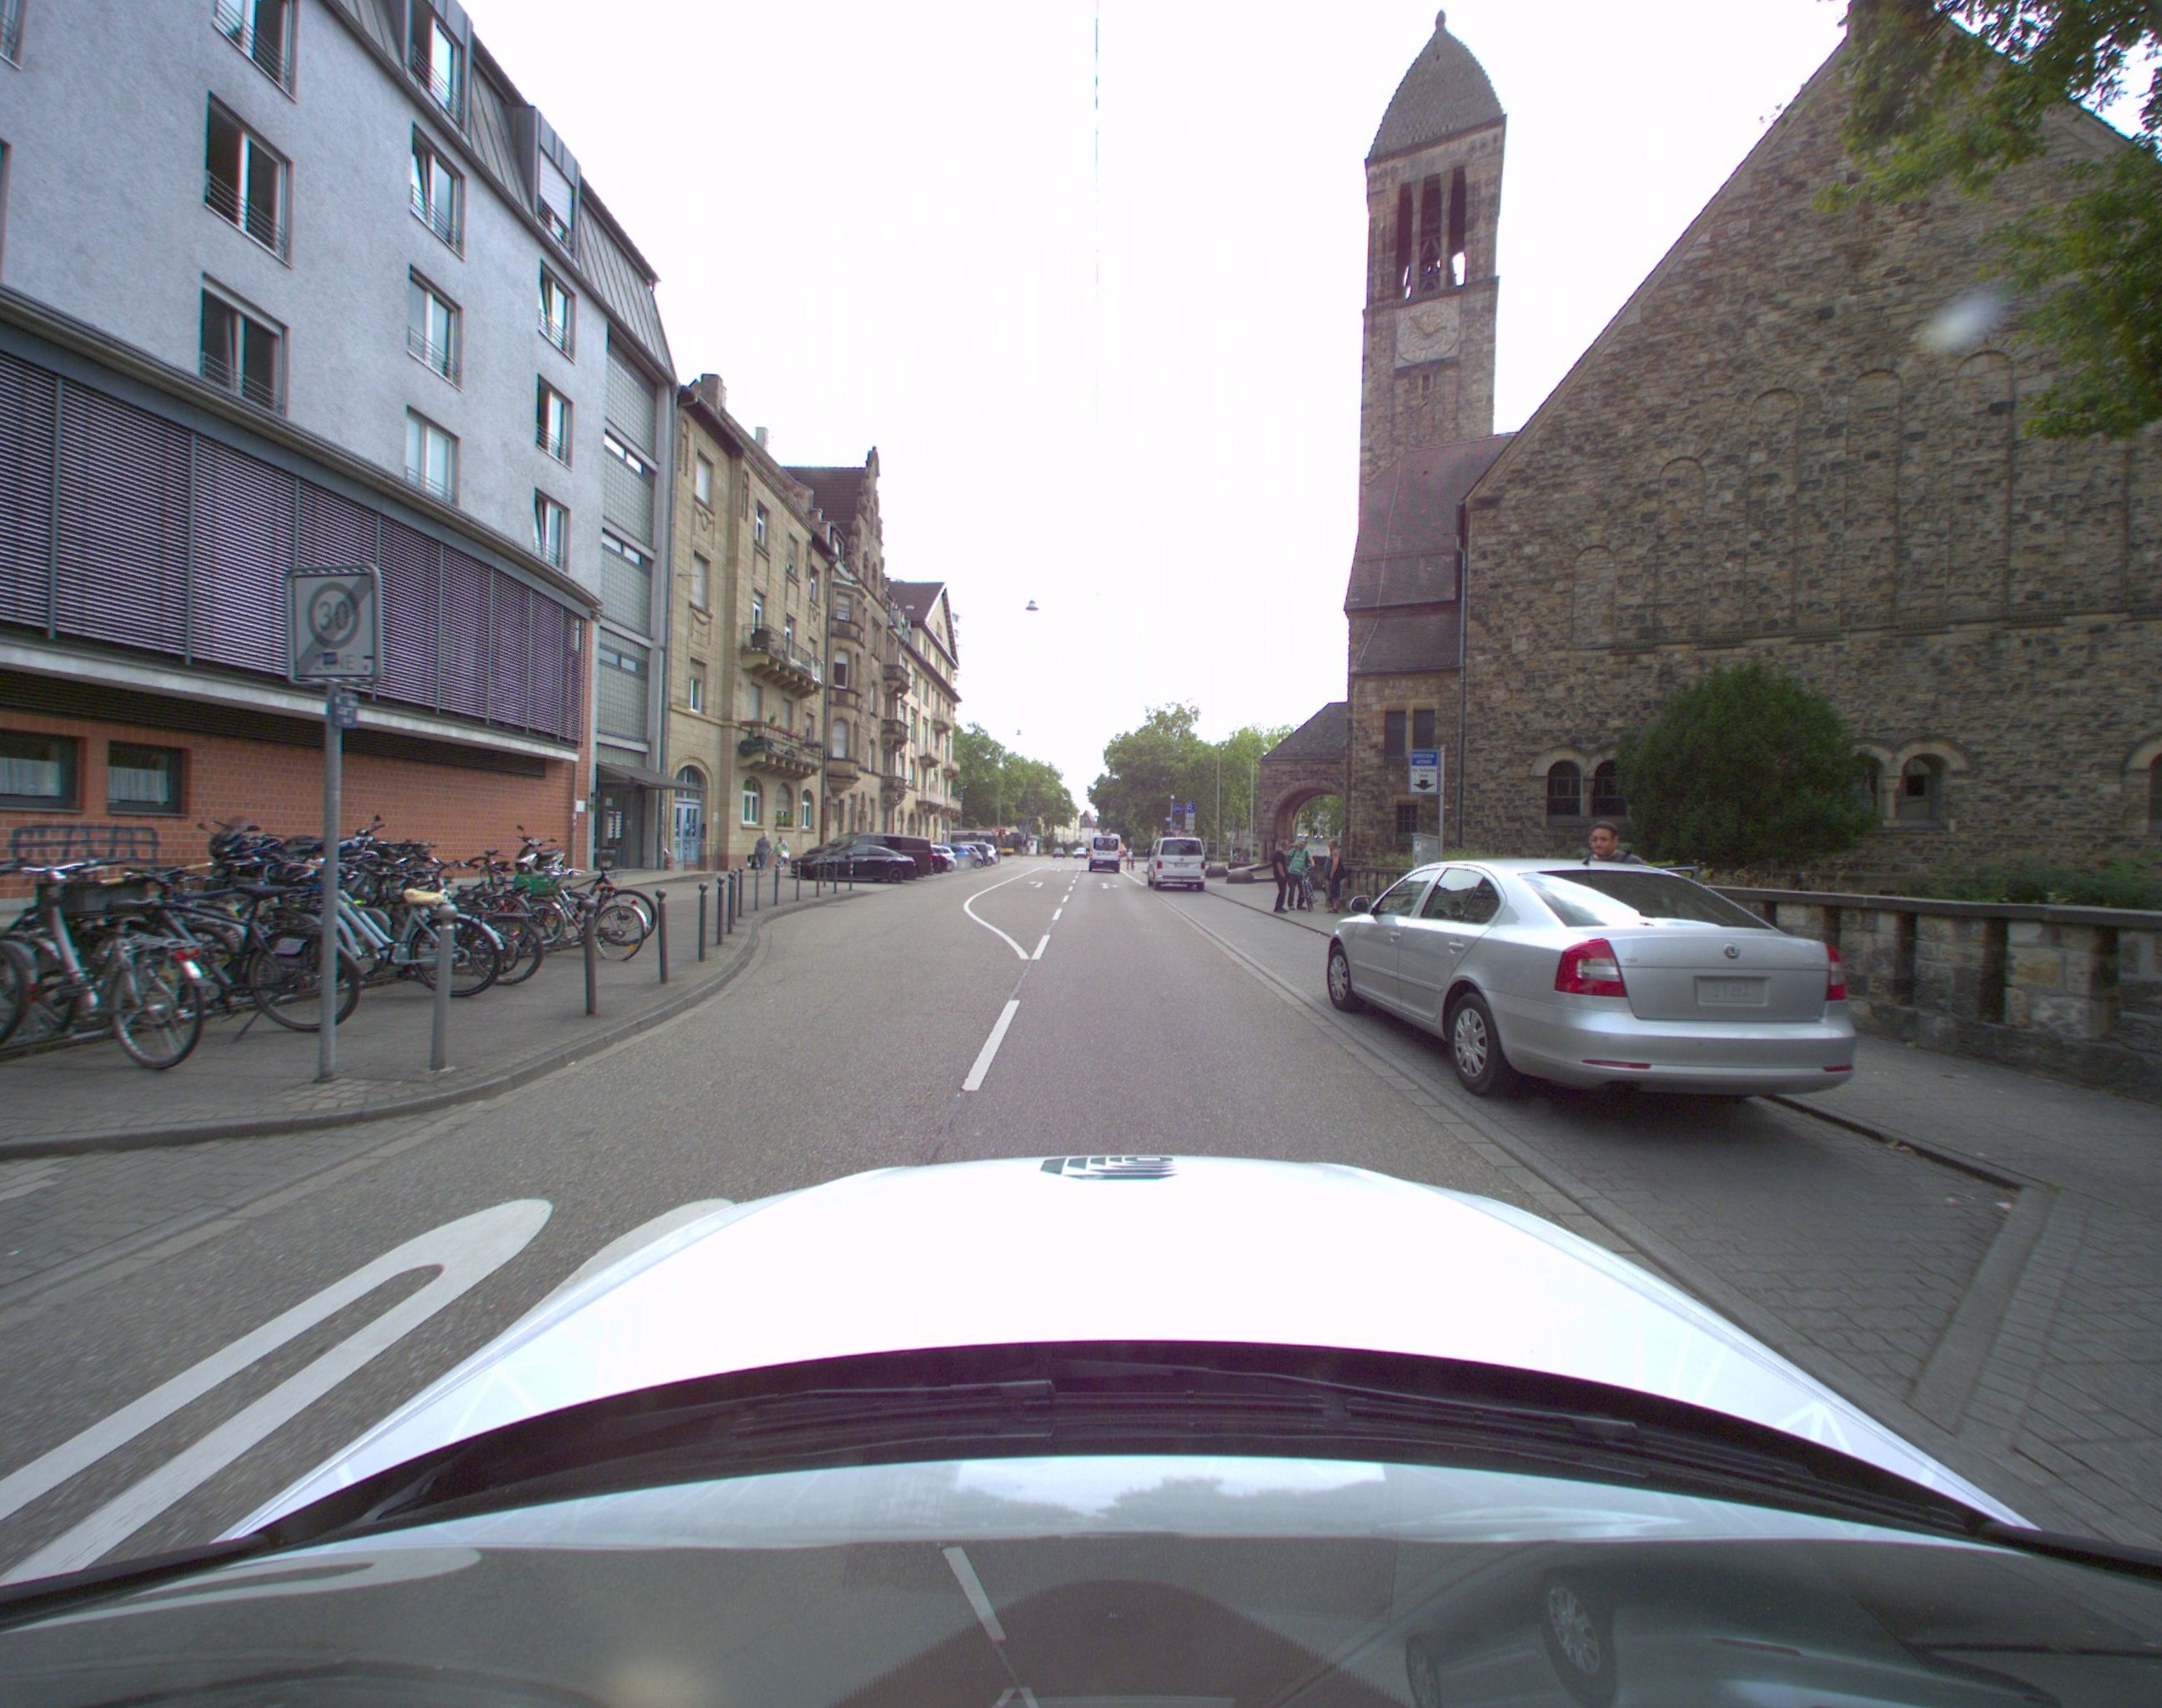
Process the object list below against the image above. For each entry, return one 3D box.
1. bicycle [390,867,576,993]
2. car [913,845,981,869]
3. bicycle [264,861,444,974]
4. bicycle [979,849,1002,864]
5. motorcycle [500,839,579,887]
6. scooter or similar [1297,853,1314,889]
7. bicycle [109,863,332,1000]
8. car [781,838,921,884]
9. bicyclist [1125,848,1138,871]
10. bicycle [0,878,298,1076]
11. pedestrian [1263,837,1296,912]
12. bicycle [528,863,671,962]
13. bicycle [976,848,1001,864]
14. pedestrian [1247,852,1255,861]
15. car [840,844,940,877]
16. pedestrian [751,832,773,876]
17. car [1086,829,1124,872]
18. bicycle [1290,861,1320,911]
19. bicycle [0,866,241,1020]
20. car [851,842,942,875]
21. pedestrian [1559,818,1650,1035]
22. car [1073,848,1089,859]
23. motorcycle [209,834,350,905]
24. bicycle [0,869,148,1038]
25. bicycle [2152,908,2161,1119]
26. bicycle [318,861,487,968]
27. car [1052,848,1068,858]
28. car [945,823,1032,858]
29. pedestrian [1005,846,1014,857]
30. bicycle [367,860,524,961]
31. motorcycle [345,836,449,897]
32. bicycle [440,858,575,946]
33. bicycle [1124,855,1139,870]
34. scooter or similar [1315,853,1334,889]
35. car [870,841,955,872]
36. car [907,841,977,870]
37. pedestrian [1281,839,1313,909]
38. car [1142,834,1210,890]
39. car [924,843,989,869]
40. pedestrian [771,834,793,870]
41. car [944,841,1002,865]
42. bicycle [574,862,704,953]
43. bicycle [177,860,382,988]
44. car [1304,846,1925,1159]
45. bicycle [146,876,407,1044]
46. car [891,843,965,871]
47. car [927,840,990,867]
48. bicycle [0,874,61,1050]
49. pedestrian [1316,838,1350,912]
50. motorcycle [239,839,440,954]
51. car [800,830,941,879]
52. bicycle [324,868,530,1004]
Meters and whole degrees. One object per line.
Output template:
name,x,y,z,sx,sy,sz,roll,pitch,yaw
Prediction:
bicycle,-5.587,0.696,7.634,1.400,1.038,0.402,4,0,2
car,-8.600,0.187,52.366,3.920,1.443,1.817,1,0,-35
bicycle,-7.114,0.607,7.988,1.400,1.026,0.402,2,0,2
bicycle,-7.634,0.185,68.833,1.859,1.166,0.500,3,0,21
motorcycle,-12.721,0.193,19.210,0.581,1.048,1.794,3,1,1
scooter or similar,7.922,0.590,28.791,0.540,1.207,1.448,1,0,14
bicycle,-7.042,0.618,6.685,1.400,1.026,0.402,2,0,2
car,-8.651,0.282,30.873,4.693,1.409,1.879,4,0,-38
bicyclist,3.785,0.406,61.212,0.901,1.683,0.756,1,0,-3
bicycle,-5.635,0.715,4.911,1.400,1.026,0.402,4,0,2
pedestrian,4.656,0.478,19.109,0.509,1.719,0.528,1,0,-22
bicycle,-5.679,0.680,9.636,1.400,1.038,0.402,4,0,2
bicycle,-7.476,0.168,65.668,1.801,1.120,0.595,5,0,4
pedestrian,24.777,0.408,118.758,1.086,1.236,1.443,0,-1,5
car,-8.637,0.301,37.007,4.033,1.409,1.776,1,1,-41
pedestrian,-11.213,-0.004,28.644,0.651,1.545,0.506,1,0,-18
car,1.551,-0.264,53.965,2.175,2.647,4.627,3,1,-1
bicycle,5.536,0.763,20.071,0.528,1.150,1.762,2,0,21
bicycle,-7.086,0.635,5.992,1.400,1.026,0.402,2,0,2
car,-8.970,0.215,39.733,4.013,1.503,1.614,1,0,-35
pedestrian,4.323,0.582,6.746,0.466,1.735,0.410,1,0,0
car,0.051,-0.101,117.508,1.723,1.592,4.010,1,1,8
motorcycle,-12.805,0.222,13.088,0.582,1.048,1.656,3,1,-1
bicycle,-7.113,0.631,5.401,1.400,1.026,0.402,2,0,2
bicycle,5.926,0.865,3.322,0.520,1.105,1.979,1,1,2
bicycle,-7.042,0.611,8.474,1.400,1.026,0.402,2,0,2
car,-3.042,-0.137,118.522,1.612,1.476,4.010,1,1,8
car,-11.107,-1.649,97.438,9.795,3.915,3.475,2,0,25
pedestrian,-9.800,-0.361,111.551,0.923,1.514,0.726,1,0,15
bicycle,-7.013,0.615,9.010,1.400,1.026,0.402,2,0,2
motorcycle,-12.958,0.203,15.506,0.583,1.048,1.960,3,1,-10
bicycle,-7.202,0.587,10.253,1.400,1.026,0.402,2,0,2
bicycle,3.772,0.642,61.178,0.900,1.075,1.969,1,0,-2
scooter or similar,8.529,0.585,28.495,0.539,1.207,1.488,1,0,20
car,-8.898,0.136,42.991,4.025,1.564,1.779,1,0,-32
car,-8.426,0.115,49.403,3.794,1.651,1.706,1,0,-36
pedestrian,5.378,0.485,20.249,0.532,1.719,0.505,1,0,-22
car,3.617,0.246,31.959,2.008,2.029,5.122,0,1,-1
car,-8.438,0.130,55.405,4.031,1.651,1.776,1,0,-38
pedestrian,-12.283,-0.087,33.492,0.658,1.485,0.509,1,0,0
car,-8.141,-0.069,61.498,4.031,1.773,1.776,1,0,-38
bicycle,-5.702,0.680,10.528,1.400,1.038,0.402,4,0,2
bicycle,-7.037,0.600,7.171,1.400,1.026,0.402,2,0,2
car,3.177,0.698,6.126,1.749,1.468,4.418,1,1,0
bicycle,-5.621,0.722,5.719,1.400,1.026,0.402,4,0,2
car,-8.599,0.181,45.941,3.701,1.481,1.723,1,0,-36
car,-8.706,-0.025,58.047,4.031,1.878,1.776,1,0,-38
bicycle,-7.118,0.627,4.925,1.400,1.026,0.402,2,0,2
pedestrian,5.927,0.491,19.165,0.509,1.719,0.528,1,0,-21
motorcycle,-8.451,0.433,9.399,0.581,1.172,1.780,3,1,2
car,-8.762,0.027,34.078,5.291,1.910,2.099,1,0,-34
bicycle,-5.591,0.686,6.992,1.400,1.026,0.402,4,0,2
